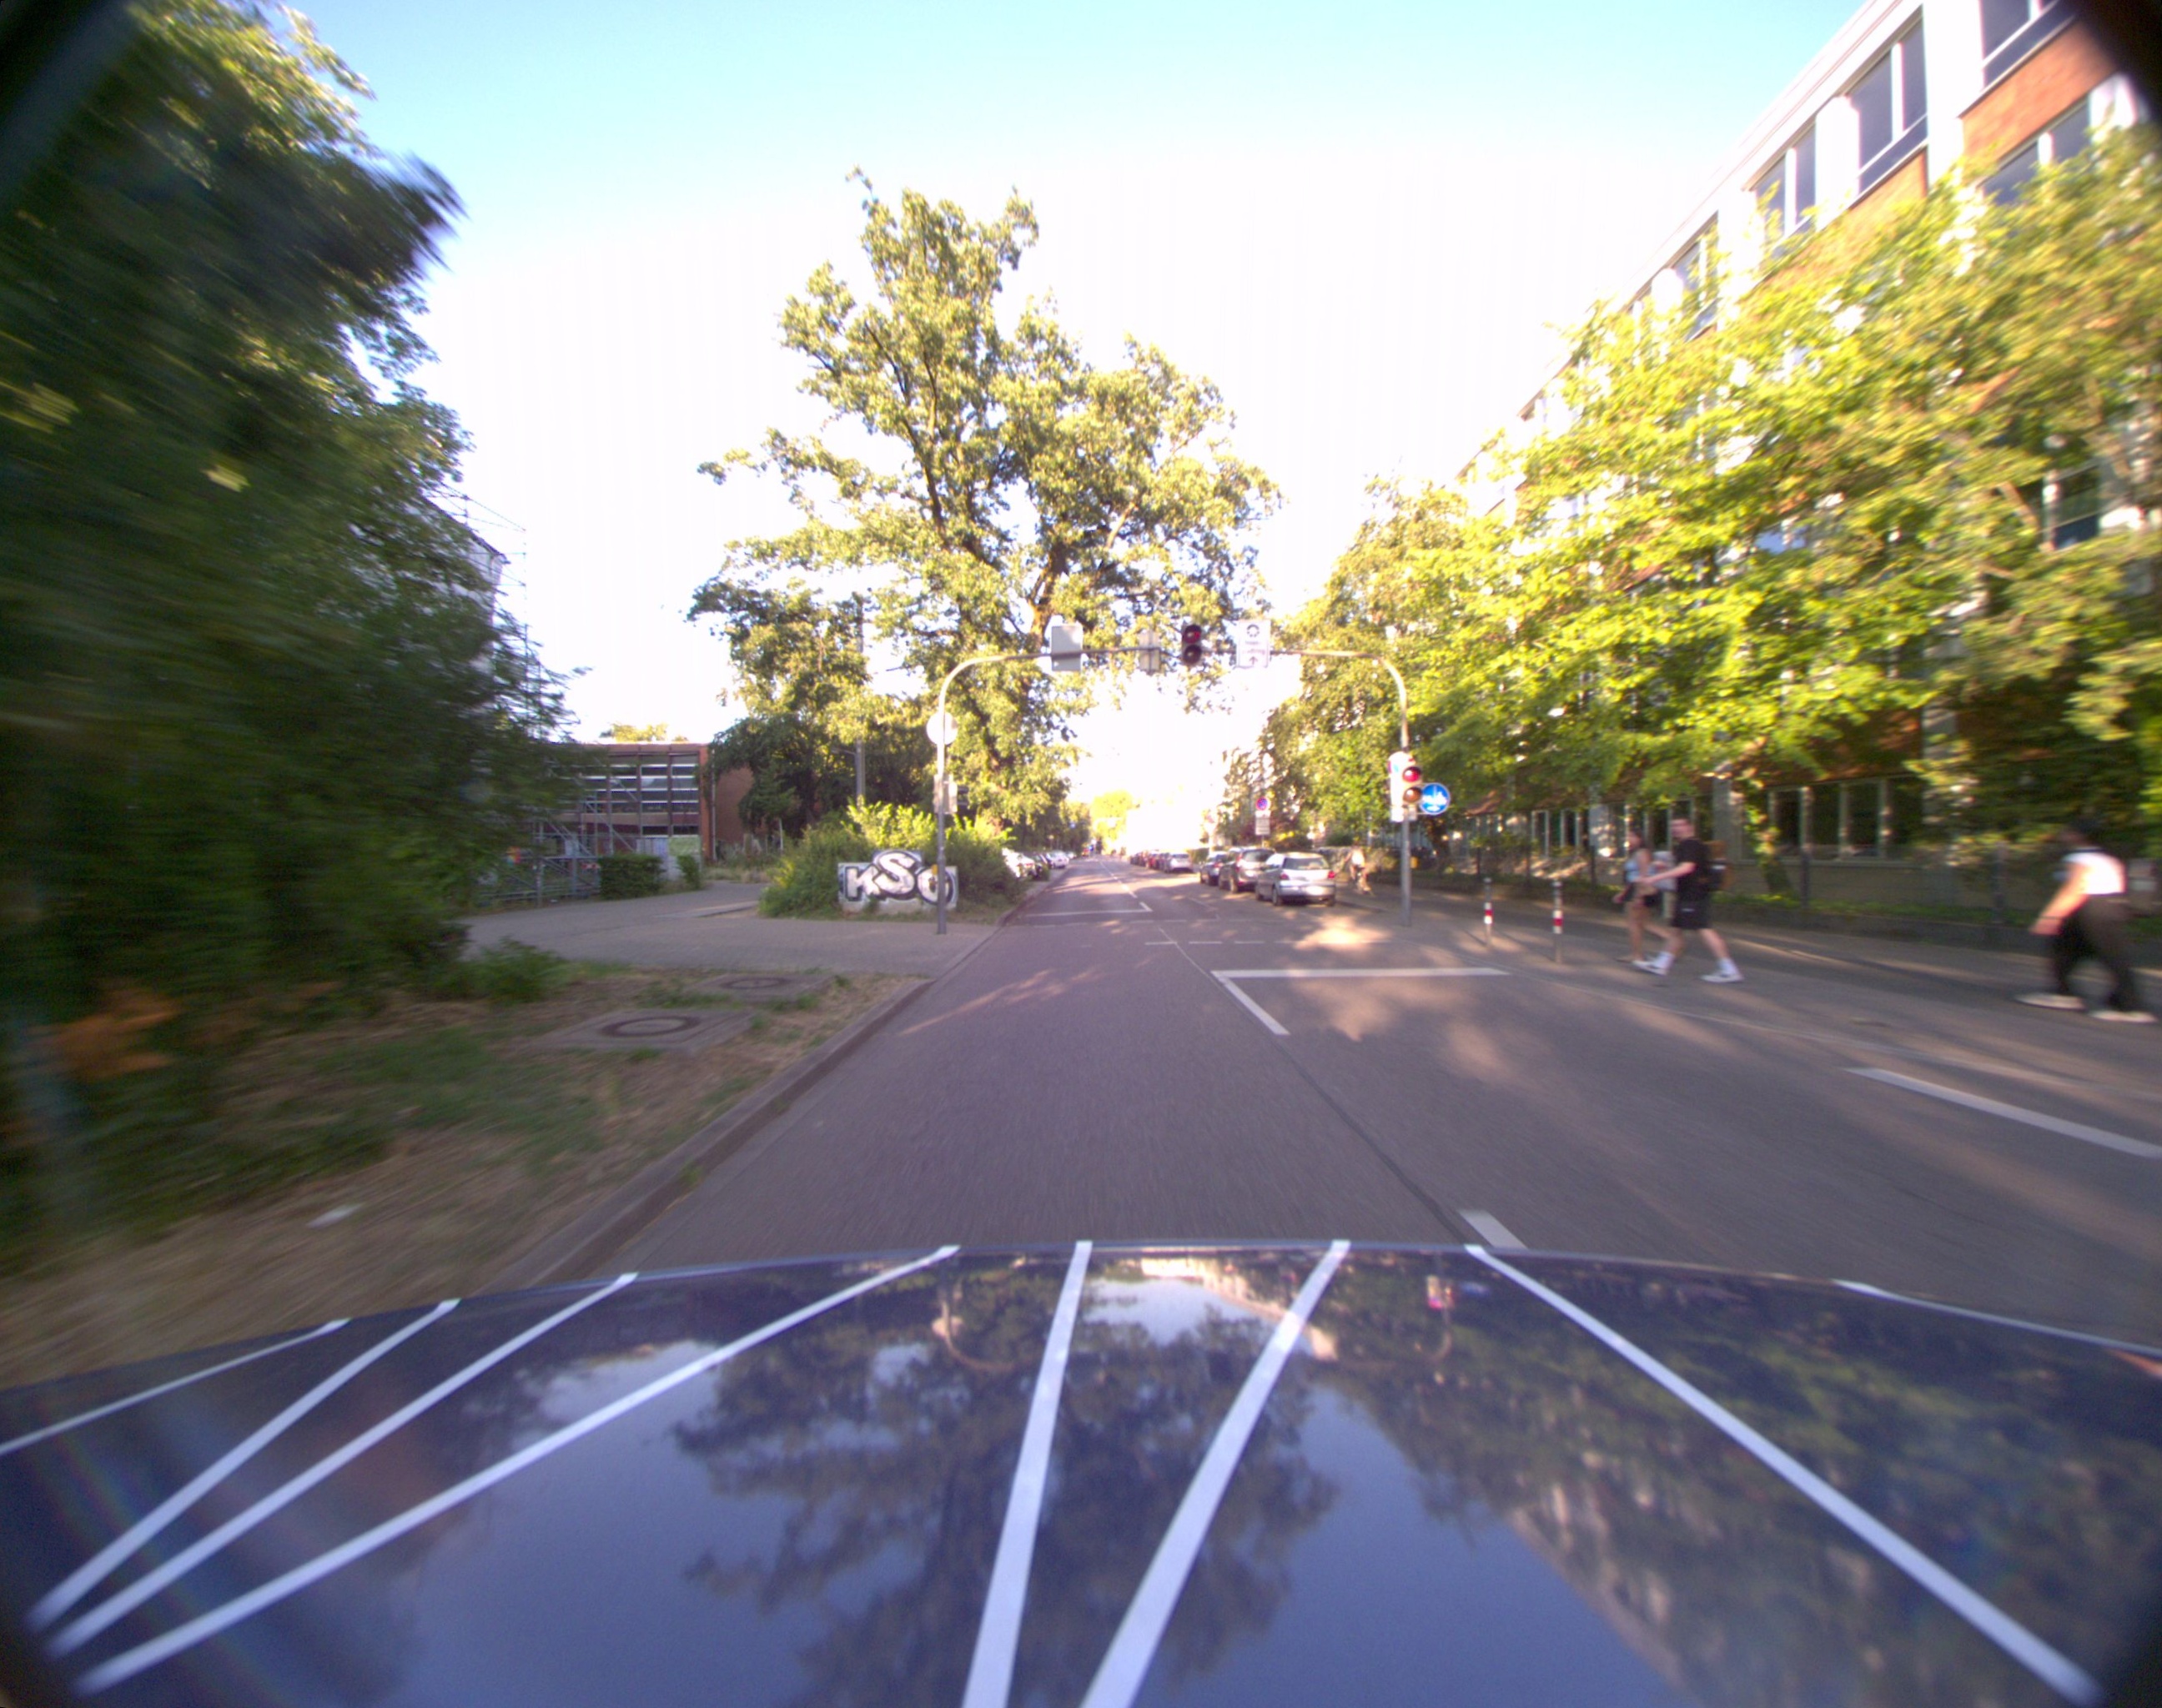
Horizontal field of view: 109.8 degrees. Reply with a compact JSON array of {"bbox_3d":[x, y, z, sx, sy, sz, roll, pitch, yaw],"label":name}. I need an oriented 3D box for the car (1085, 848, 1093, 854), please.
[{"bbox_3d":[2.591,-1.080,246.405,2.228,2.002,4.890,0,0,1],"label":"car"}]

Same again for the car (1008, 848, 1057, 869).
[{"bbox_3d":[-3.897,0.360,61.819,3.817,1.466,1.756,2,1,1],"label":"car"}]

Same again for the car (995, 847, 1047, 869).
[{"bbox_3d":[-4.605,0.316,59.001,3.817,1.466,1.831,2,1,1],"label":"car"}]

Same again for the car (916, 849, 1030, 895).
[{"bbox_3d":[-4.294,0.705,30.635,4.179,1.700,1.867,-1,1,5],"label":"car"}]

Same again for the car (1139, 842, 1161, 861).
[{"bbox_3d":[6.970,-0.305,77.207,1.812,1.878,4.237,-1,1,0],"label":"car"}]

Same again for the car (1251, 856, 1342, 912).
[{"bbox_3d":[6.150,0.812,22.101,1.683,1.448,3.882,0,0,2],"label":"car"}]

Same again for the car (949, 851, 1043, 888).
[{"bbox_3d":[-3.905,0.699,35.295,4.132,1.658,1.723,0,1,1],"label":"car"}]

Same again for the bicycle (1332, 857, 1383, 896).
[{"bbox_3d":[9.424,0.727,26.006,0.688,1.242,2.191,-2,1,-8],"label":"bicycle"}]

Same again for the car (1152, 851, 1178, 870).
[{"bbox_3d":[6.764,0.484,61.184,1.602,1.447,4.054,0,0,0],"label":"car"}]

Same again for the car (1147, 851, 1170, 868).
[{"bbox_3d":[6.802,0.493,67.120,1.602,1.447,3.861,0,1,0],"label":"car"}]

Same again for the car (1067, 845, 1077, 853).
[{"bbox_3d":[-1.731,-0.903,147.481,1.752,1.478,4.176,0,1,4],"label":"car"}]

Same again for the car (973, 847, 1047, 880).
[{"bbox_3d":[-3.726,0.521,40.248,3.754,1.585,1.697,2,0,-1],"label":"car"}]

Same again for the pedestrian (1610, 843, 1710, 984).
[{"bbox_3d":[7.101,0.695,9.337,0.716,1.653,0.706,-1,1,-23],"label":"pedestrian"}]

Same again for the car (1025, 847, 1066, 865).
[{"bbox_3d":[-3.234,0.193,69.456,3.676,1.544,1.734,-1,1,-1],"label":"car"}]

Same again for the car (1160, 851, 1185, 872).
[{"bbox_3d":[6.791,0.525,56.571,1.602,1.499,3.787,1,0,3],"label":"car"}]

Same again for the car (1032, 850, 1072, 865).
[{"bbox_3d":[-2.747,0.330,72.174,3.676,1.436,1.734,-1,1,-1],"label":"car"}]

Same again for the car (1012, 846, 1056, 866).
[{"bbox_3d":[-4.118,0.157,66.844,3.734,1.490,1.820,2,1,1],"label":"car"}]

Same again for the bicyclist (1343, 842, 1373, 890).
[{"bbox_3d":[9.433,0.409,25.868,0.677,1.594,0.706,-2,1,-8],"label":"bicyclist"}]

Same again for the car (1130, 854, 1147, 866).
[{"bbox_3d":[7.022,0.691,92.764,1.746,1.349,4.396,0,1,1],"label":"car"}]

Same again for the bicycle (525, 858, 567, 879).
[{"bbox_3d":[-30.579,0.823,43.512,0.648,1.131,2.387,0,1,2],"label":"bicycle"}]

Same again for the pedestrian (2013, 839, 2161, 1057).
[{"bbox_3d":[8.377,0.710,6.216,0.716,1.653,0.765,-1,1,-23],"label":"pedestrian"}]

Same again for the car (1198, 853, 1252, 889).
[{"bbox_3d":[6.301,0.695,33.691,1.675,1.485,4.061,0,0,1],"label":"car"}]

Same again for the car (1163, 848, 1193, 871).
[{"bbox_3d":[6.600,0.379,51.897,1.605,1.485,3.772,0,0,0],"label":"car"}]

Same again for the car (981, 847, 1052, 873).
[{"bbox_3d":[-4.096,0.398,48.626,4.349,1.466,1.742,2,0,-1],"label":"car"}]

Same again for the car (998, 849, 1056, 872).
[{"bbox_3d":[-3.927,0.468,56.206,4.131,1.466,1.831,2,1,-1],"label":"car"}]

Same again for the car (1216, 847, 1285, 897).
[{"bbox_3d":[6.243,0.622,28.405,1.683,1.698,4.340,0,0,1],"label":"car"}]

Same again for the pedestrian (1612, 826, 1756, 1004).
[{"bbox_3d":[6.583,0.621,8.328,0.823,1.813,0.955,-1,1,-23],"label":"pedestrian"}]
